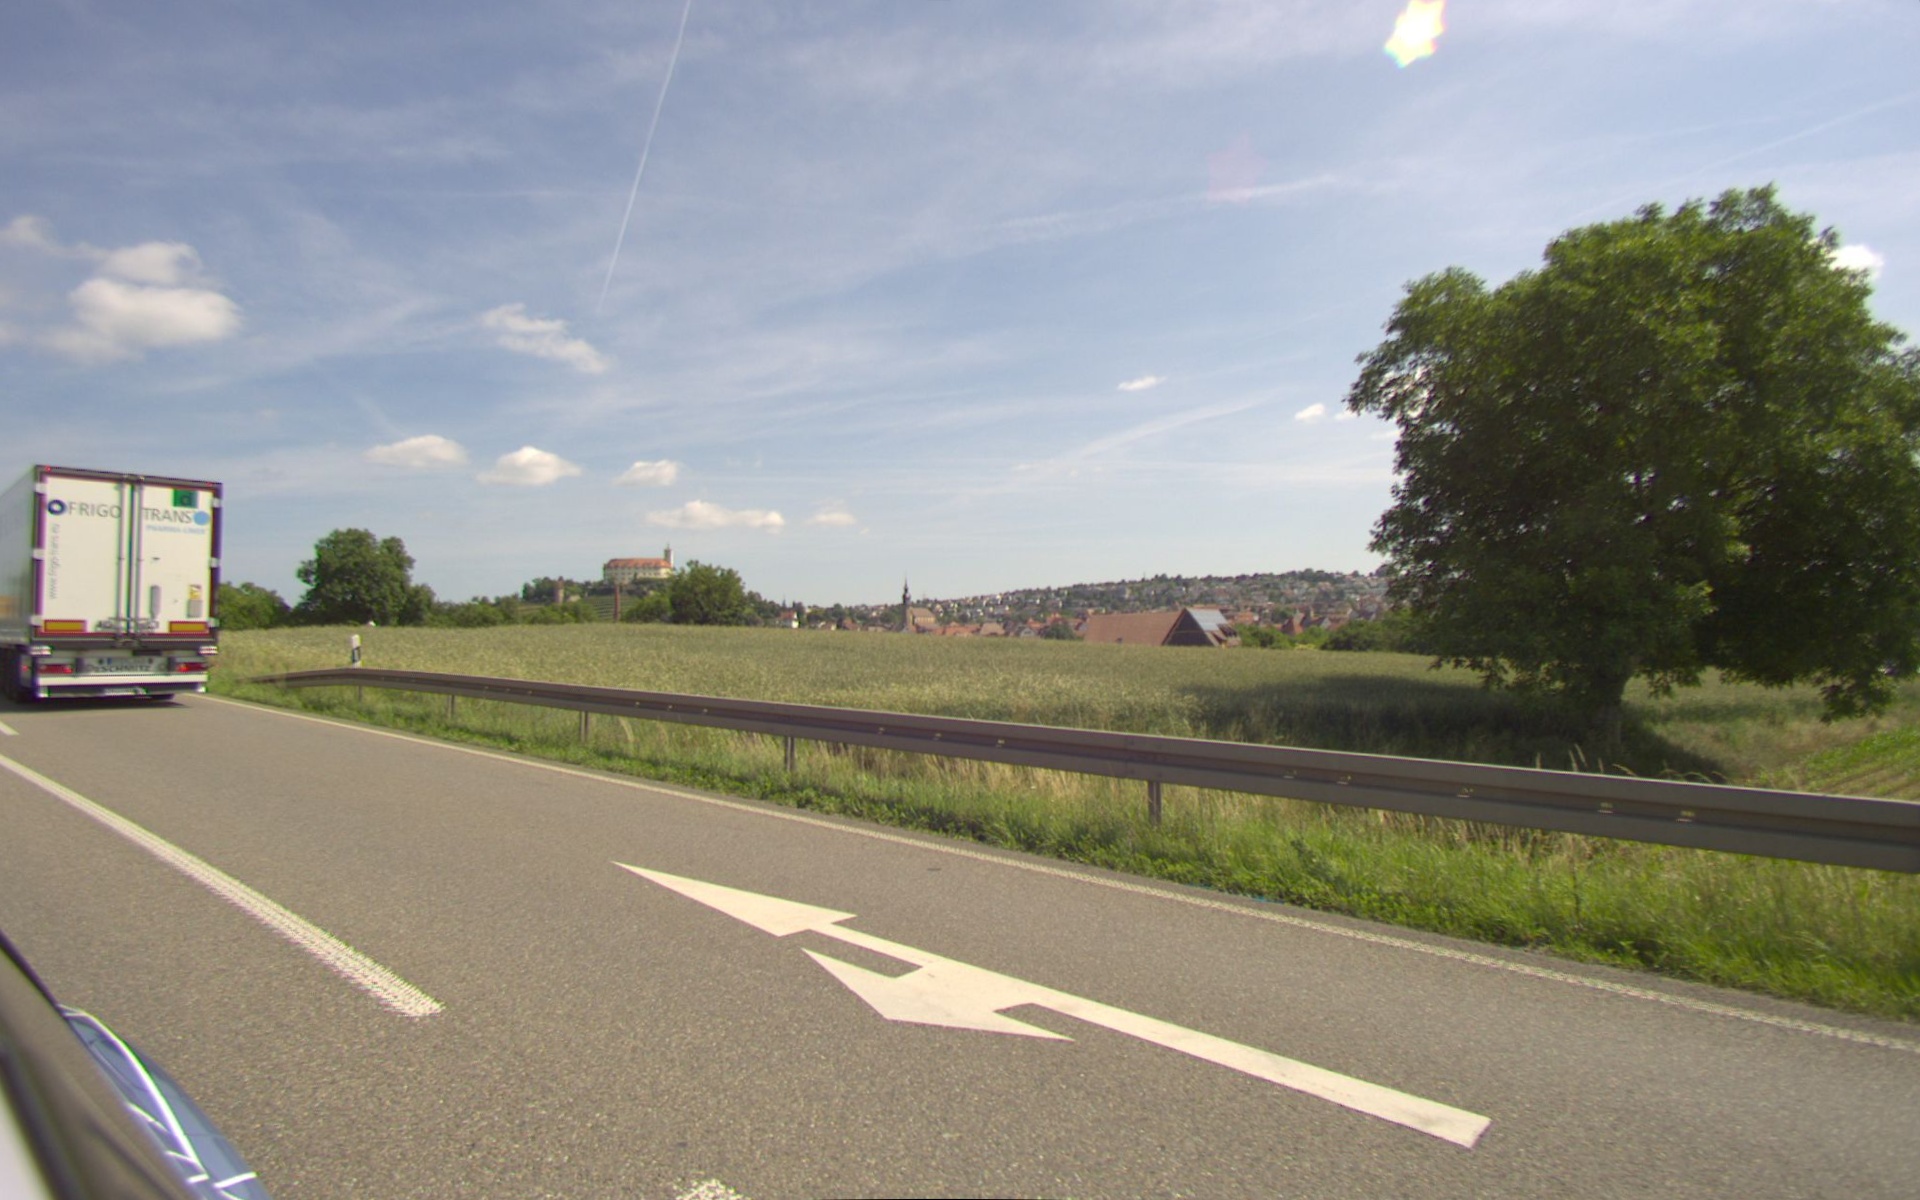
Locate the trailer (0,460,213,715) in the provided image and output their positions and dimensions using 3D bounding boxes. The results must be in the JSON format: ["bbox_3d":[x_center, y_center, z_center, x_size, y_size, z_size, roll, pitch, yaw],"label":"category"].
[{"bbox_3d":[-19.589,-0.059,22.021,13.894,4.151,2.480,-1,-3,42],"label":"trailer"}]

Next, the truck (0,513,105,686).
[{"bbox_3d":[-24.792,0.057,26.702,6.019,4.151,2.503,-1,-3,42],"label":"truck"}]
